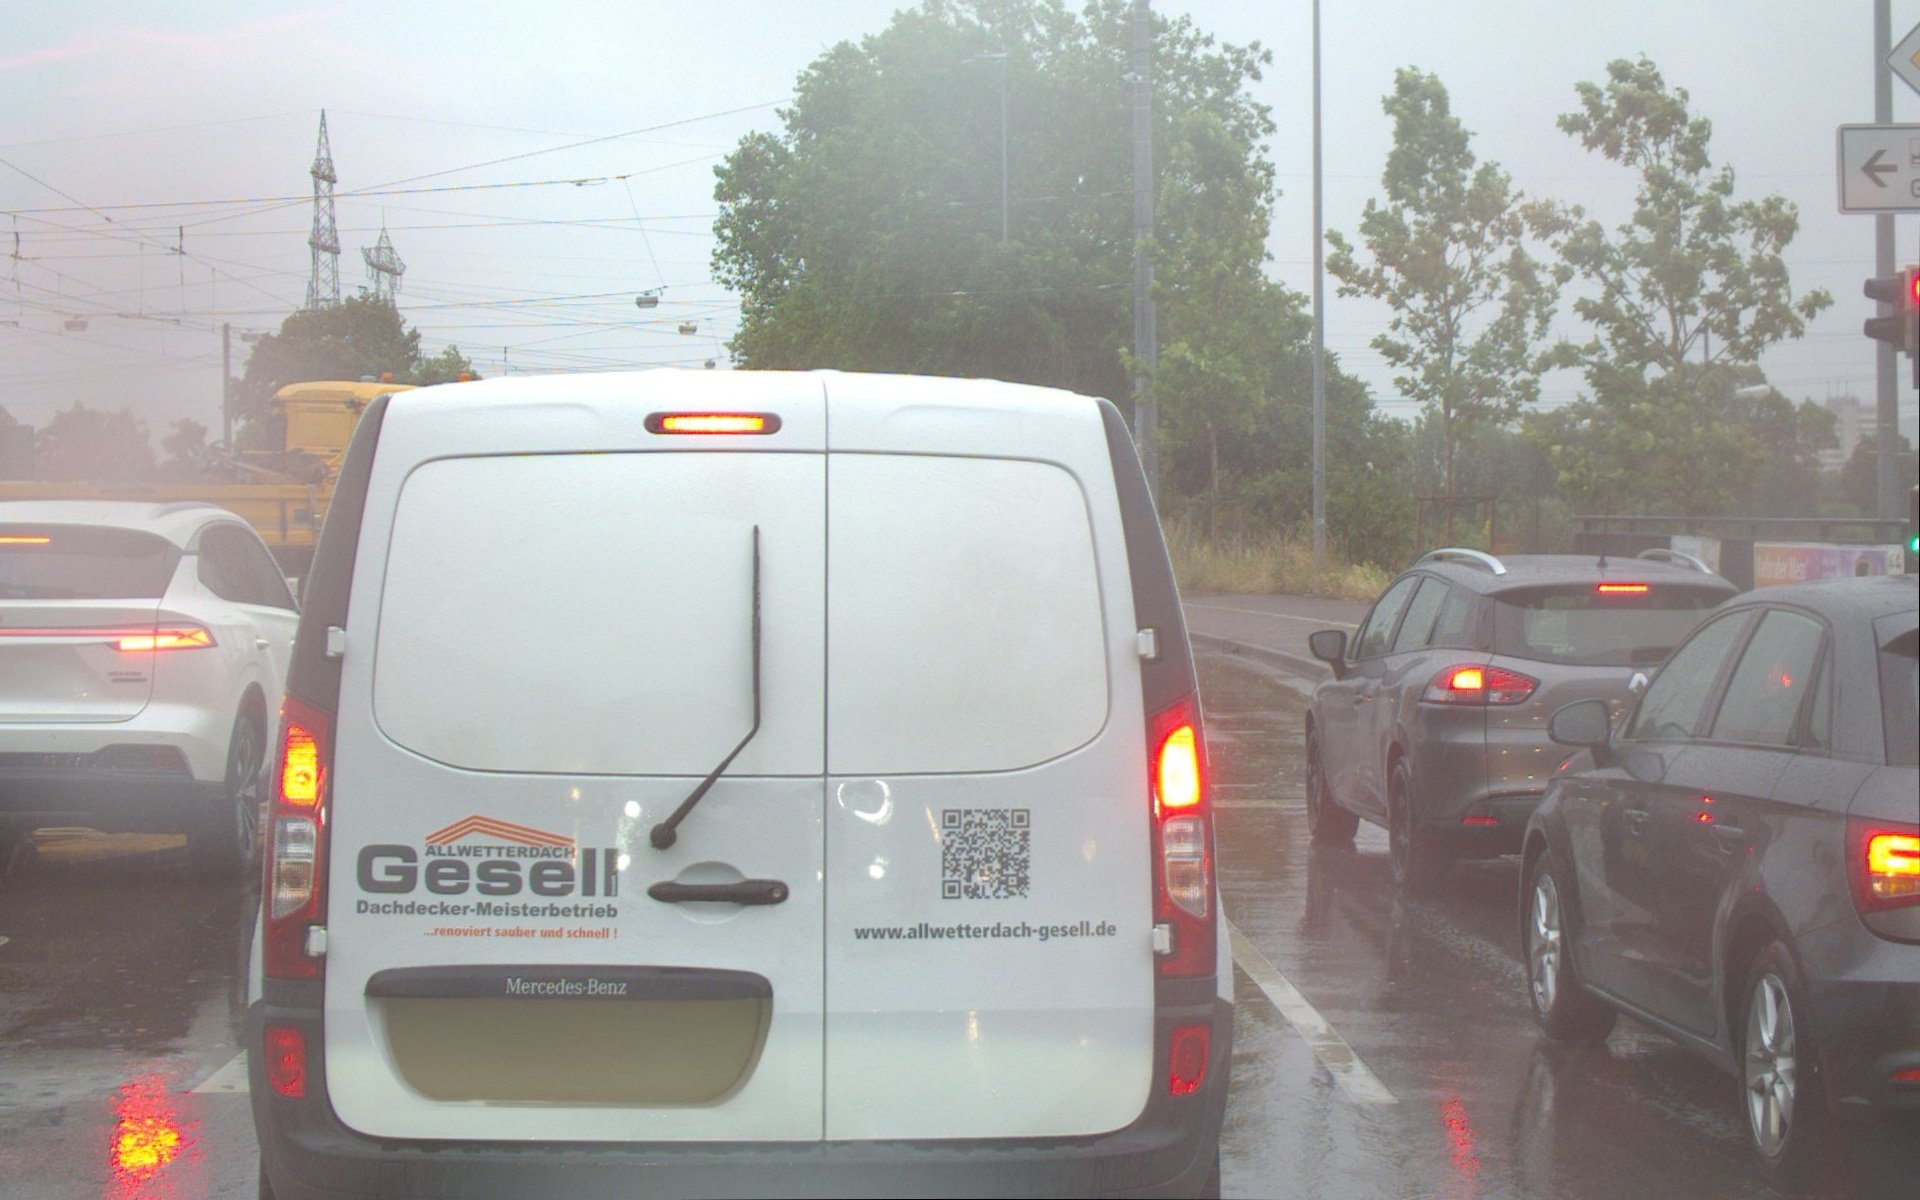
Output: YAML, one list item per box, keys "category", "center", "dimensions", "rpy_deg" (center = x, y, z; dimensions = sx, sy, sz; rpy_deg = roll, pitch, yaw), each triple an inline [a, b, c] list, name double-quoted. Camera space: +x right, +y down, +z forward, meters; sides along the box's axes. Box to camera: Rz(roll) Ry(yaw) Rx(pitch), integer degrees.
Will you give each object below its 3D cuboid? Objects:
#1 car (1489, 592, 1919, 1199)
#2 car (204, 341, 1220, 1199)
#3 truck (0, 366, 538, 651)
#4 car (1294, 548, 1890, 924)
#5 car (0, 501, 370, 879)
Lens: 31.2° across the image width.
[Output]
- category: "car"
  center: [2.524, 0.676, 8.923]
  dimensions: [1.629, 1.340, 3.624]
  rpy_deg: [1, 1, -2]
- category: "car"
  center: [-0.406, 0.469, 7.325]
  dimensions: [1.566, 1.782, 4.000]
  rpy_deg: [0, 1, -1]
- category: "truck"
  center: [-8.226, -0.918, 36.814]
  dimensions: [7.125, 2.806, 2.640]
  rpy_deg: [0, 1, -42]
- category: "car"
  center: [2.681, 0.508, 15.473]
  dimensions: [1.859, 1.424, 3.808]
  rpy_deg: [1, 1, -2]
- category: "car"
  center: [-3.950, 0.309, 16.135]
  dimensions: [1.728, 1.530, 4.298]
  rpy_deg: [1, 1, -2]
